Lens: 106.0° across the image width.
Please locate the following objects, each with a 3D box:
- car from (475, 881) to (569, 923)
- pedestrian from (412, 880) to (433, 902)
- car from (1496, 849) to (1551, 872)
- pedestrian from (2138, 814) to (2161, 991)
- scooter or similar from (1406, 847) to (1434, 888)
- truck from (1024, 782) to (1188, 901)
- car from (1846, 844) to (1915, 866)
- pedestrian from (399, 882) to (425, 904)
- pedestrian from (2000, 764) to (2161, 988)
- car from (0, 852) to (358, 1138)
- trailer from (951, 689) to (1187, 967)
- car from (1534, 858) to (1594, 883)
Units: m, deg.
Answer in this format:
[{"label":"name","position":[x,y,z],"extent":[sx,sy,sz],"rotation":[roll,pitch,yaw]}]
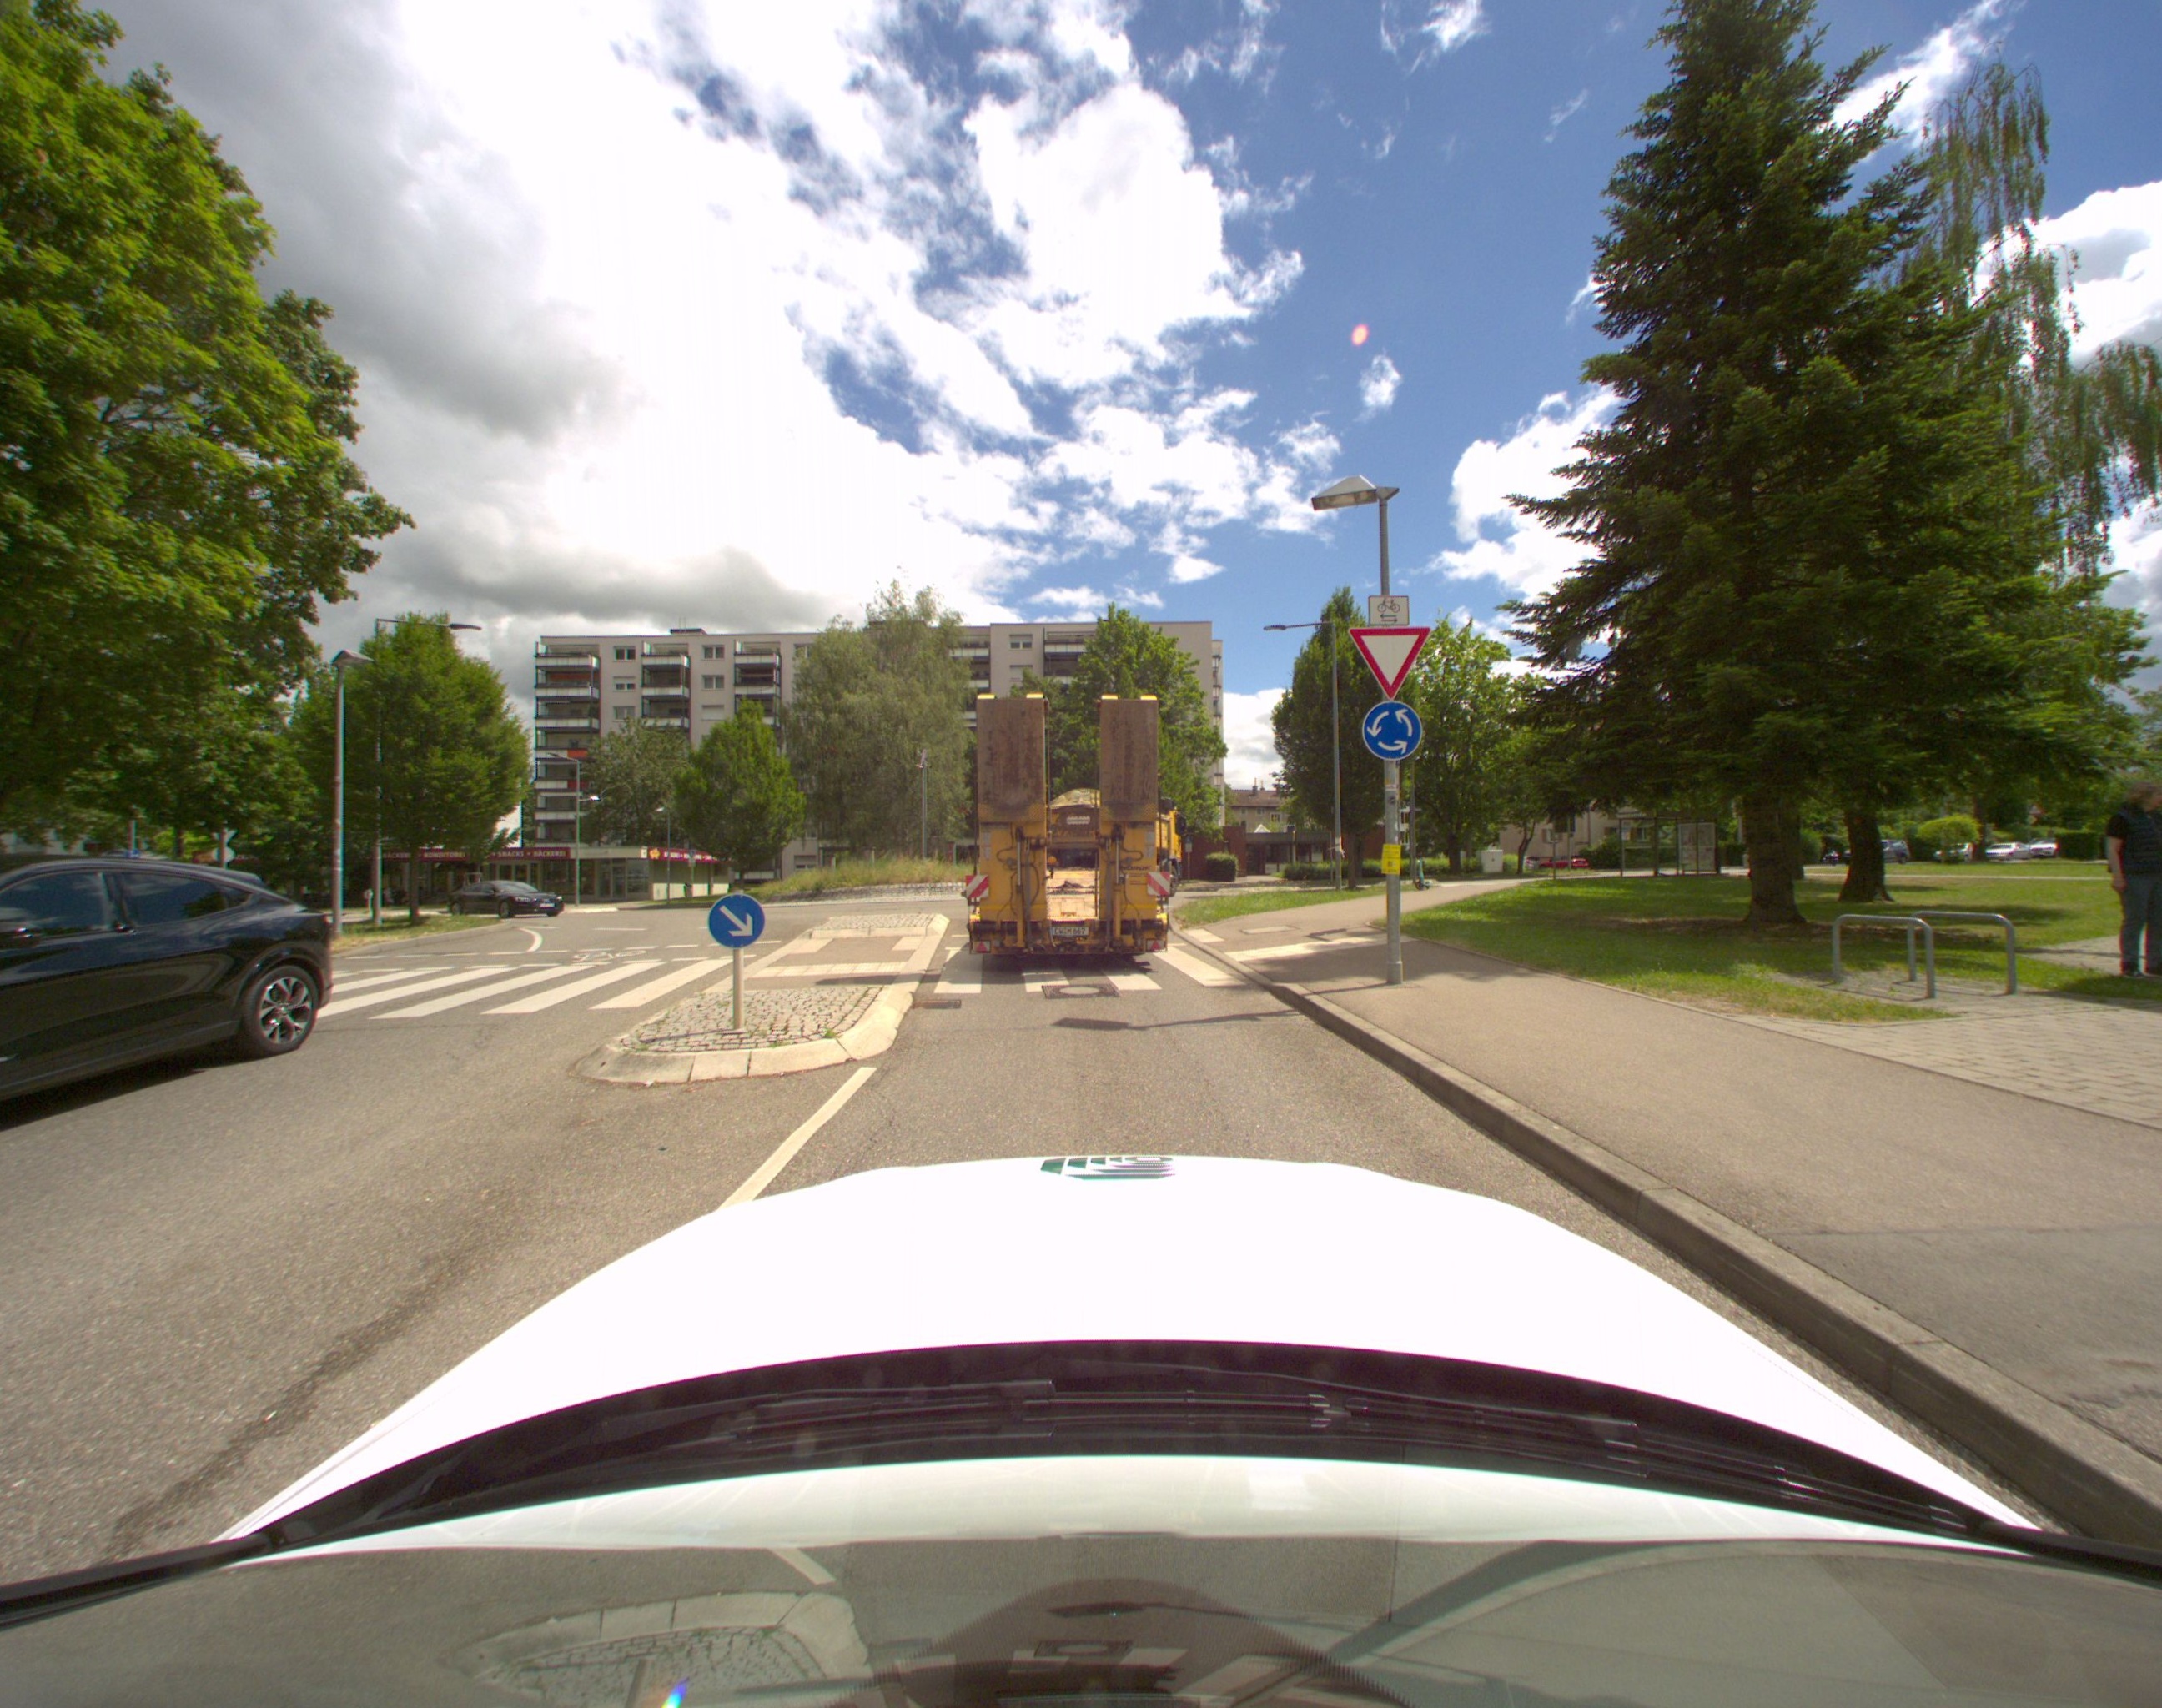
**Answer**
[{"label":"car","position":[-20.825,1.725,30.263],"extent":[4.559,1.383,1.835],"rotation":[-2,-1,42]},{"label":"pedestrian","position":[-42.194,2.383,52.169],"extent":[0.693,1.381,0.721],"rotation":[-2,-1,6]},{"label":"car","position":[38.472,0.545,70.907],"extent":[1.997,1.941,3.980],"rotation":[1,0,-15]},{"label":"pedestrian","position":[9.703,0.406,6.847],"extent":[0.741,1.530,0.689],"rotation":[-1,-1,-8]},{"label":"scooter or similar","position":[11.511,0.441,27.604],"extent":[0.480,1.343,1.397],"rotation":[-2,0,38]},{"label":"truck","position":[1.142,-0.402,25.155],"extent":[2.965,3.034,8.523],"rotation":[1,1,16]},{"label":"car","position":[57.238,0.091,58.286],"extent":[4.000,1.553,1.987],"rotation":[1,-1,-20]},{"label":"pedestrian","position":[-42.146,2.471,51.310],"extent":[0.817,1.325,0.880],"rotation":[1,-1,0]},{"label":"pedestrian","position":[9.885,0.197,7.914],"extent":[0.654,2.014,1.042],"rotation":[-1,-1,-11]},{"label":"car","position":[-6.881,0.763,4.693],"extent":[1.994,1.525,4.508],"rotation":[0,0,-11]},{"label":"trailer","position":[-0.026,-0.362,15.384],"extent":[2.853,3.372,10.844],"rotation":[1,0,1]},{"label":"car","position":[39.489,1.322,66.626],"extent":[2.015,1.941,3.980],"rotation":[1,-1,-15]}]
